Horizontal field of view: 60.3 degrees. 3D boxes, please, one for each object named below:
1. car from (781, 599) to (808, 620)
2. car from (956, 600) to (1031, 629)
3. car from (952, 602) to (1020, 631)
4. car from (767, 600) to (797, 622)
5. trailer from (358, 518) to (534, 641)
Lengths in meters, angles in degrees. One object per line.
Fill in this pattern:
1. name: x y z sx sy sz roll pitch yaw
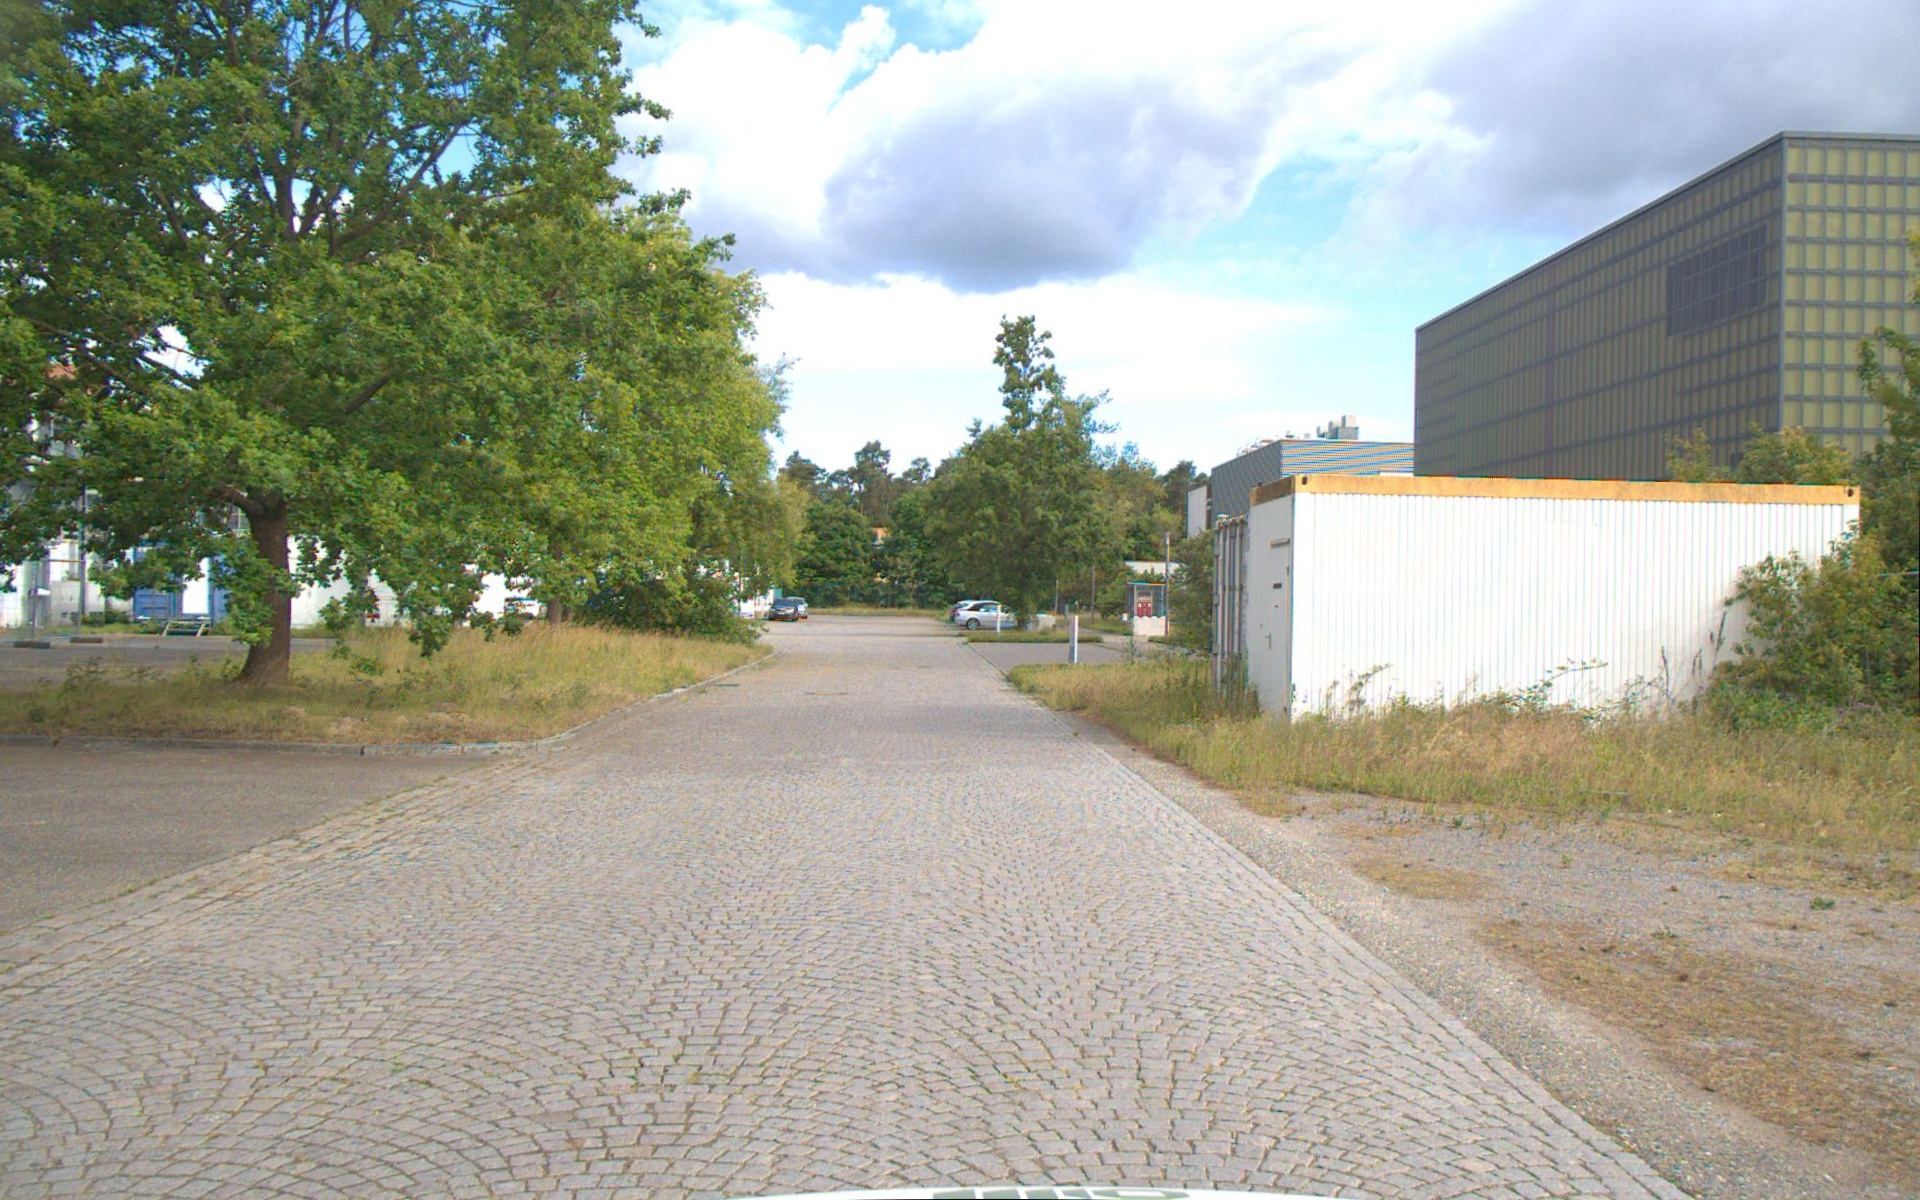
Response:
1. car: -11.783 0.660 117.675 1.614 1.484 3.996 1 0 -2
2. car: 1.788 0.758 88.982 3.904 1.473 1.652 -1 0 -2
3. car: 1.350 0.854 86.270 3.451 1.386 1.622 -1 0 -2
4. car: -11.534 0.714 107.338 1.614 1.393 3.996 1 0 -2
5. trailer: -16.874 -0.614 55.148 2.571 3.661 10.177 1 0 0
